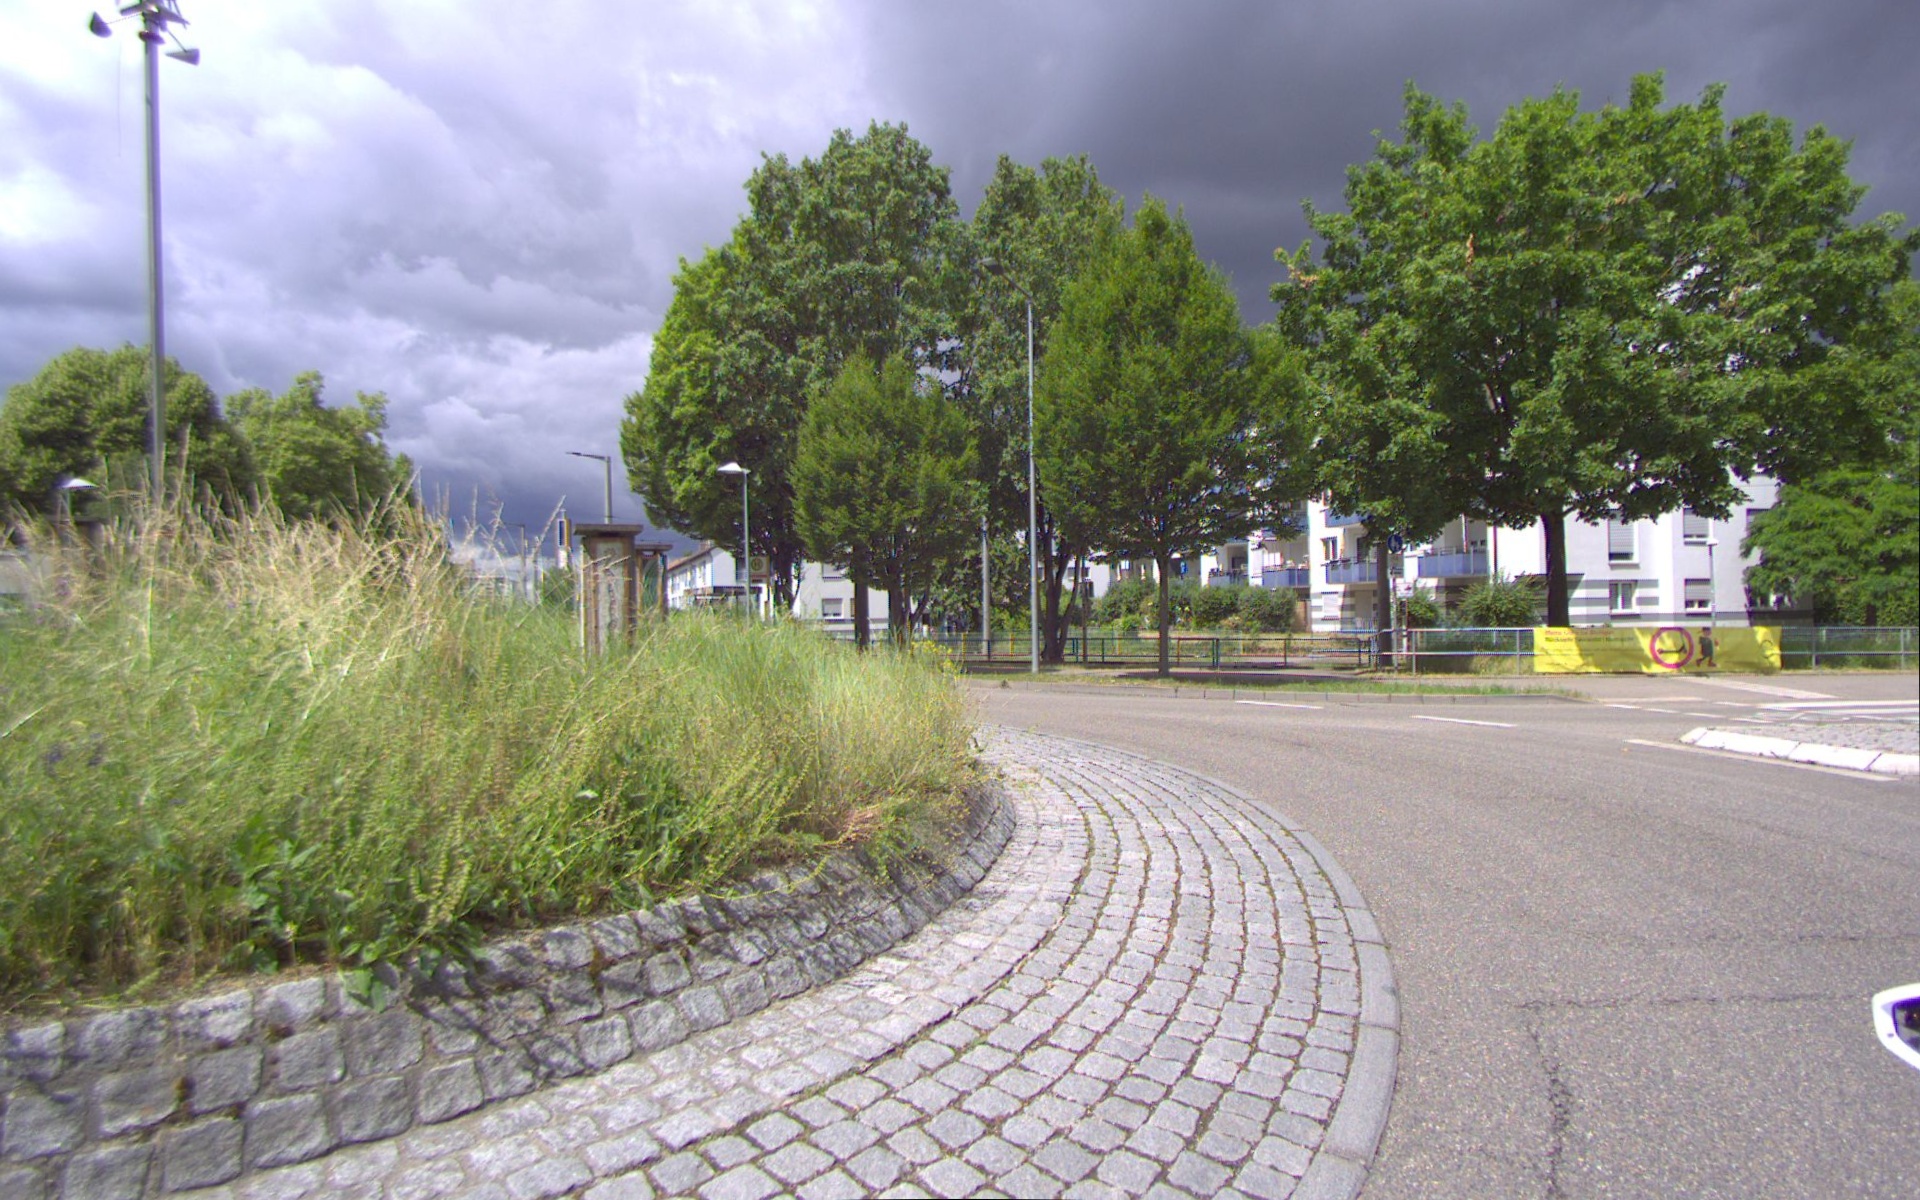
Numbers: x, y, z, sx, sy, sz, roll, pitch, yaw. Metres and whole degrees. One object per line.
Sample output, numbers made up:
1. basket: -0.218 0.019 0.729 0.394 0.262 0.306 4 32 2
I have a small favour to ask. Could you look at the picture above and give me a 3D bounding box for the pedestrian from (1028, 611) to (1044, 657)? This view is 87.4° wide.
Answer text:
1. pedestrian: 3.461 1.539 45.702 0.715 2.040 0.980 -1 -1 6
